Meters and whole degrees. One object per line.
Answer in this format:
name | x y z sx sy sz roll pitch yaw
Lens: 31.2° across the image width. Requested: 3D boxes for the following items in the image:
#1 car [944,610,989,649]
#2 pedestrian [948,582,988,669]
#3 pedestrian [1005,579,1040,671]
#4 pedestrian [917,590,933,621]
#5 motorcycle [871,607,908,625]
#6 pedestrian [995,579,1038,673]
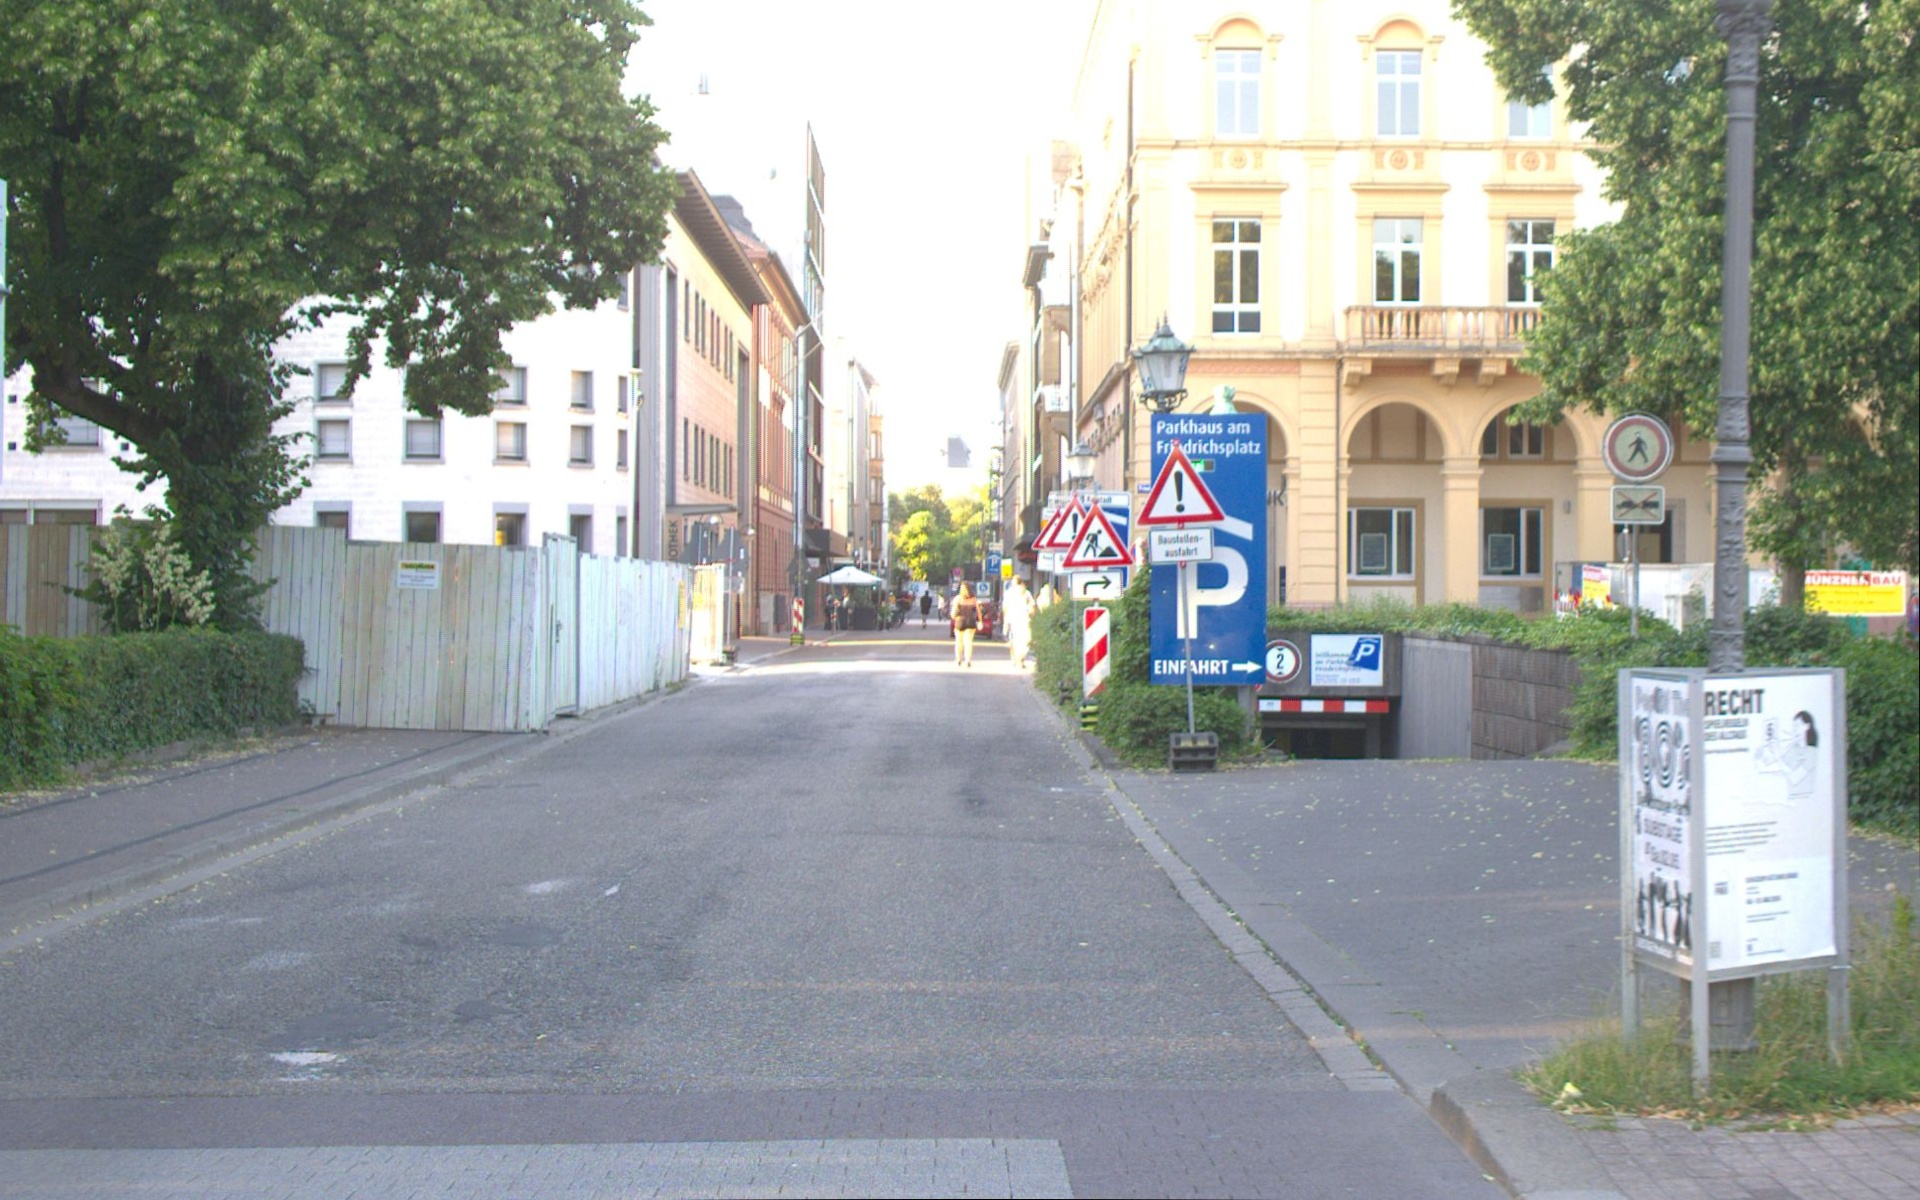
car | 0.272 1.140 133.256 1.649 1.422 3.535 3 0 0
pedestrian | 0.157 0.512 69.065 0.775 1.740 0.875 -1 0 -1
pedestrian | 1.233 0.493 67.823 0.636 1.797 0.772 -1 0 -1
pedestrian | -1.856 0.290 182.312 0.804 1.667 0.888 0 0 2
motorcycle | -3.555 0.798 173.116 1.801 0.872 0.560 0 0 -4
pedestrian | 1.134 0.514 69.125 0.812 1.869 0.875 -1 0 -1
